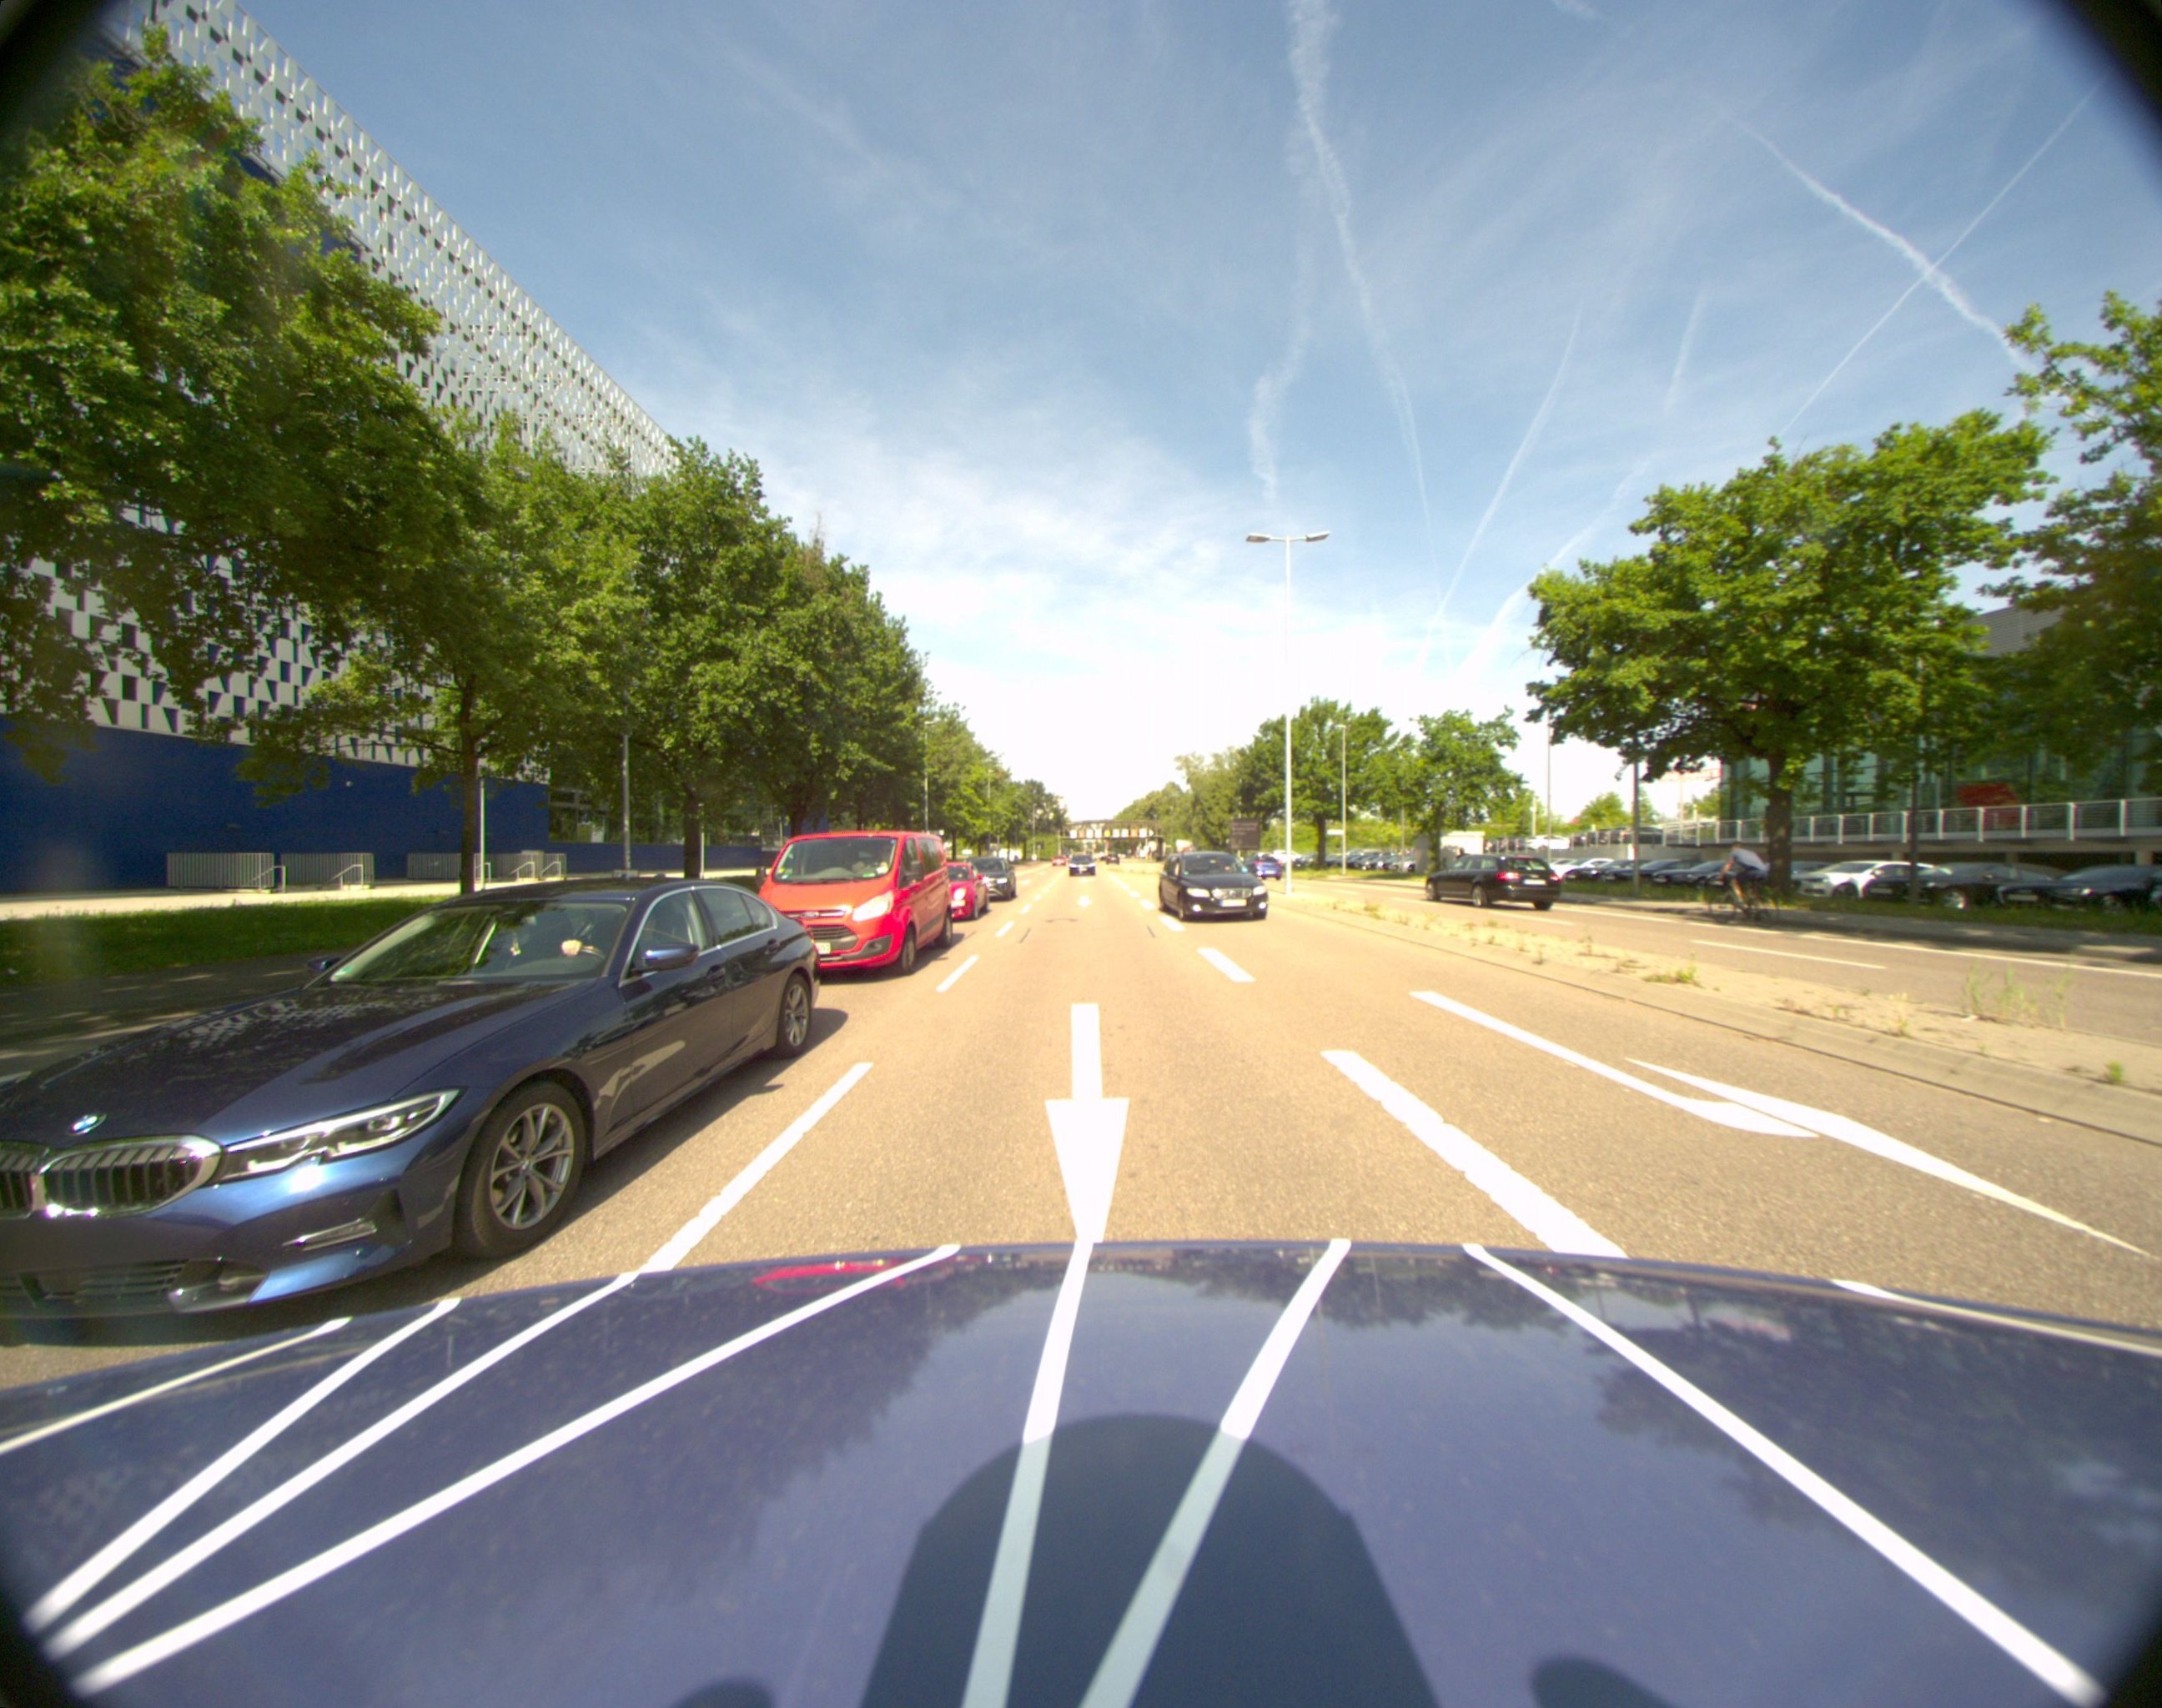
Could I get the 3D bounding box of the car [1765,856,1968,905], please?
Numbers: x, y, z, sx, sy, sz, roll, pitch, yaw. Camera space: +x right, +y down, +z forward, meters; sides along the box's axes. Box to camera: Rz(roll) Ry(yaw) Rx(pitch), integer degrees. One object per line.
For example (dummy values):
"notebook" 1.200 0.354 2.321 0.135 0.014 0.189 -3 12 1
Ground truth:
"car" 23.306 0.761 22.665 4.196 1.188 1.690 3 1 1

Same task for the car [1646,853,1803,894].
"car" 23.316 0.698 27.644 4.196 1.247 1.690 3 1 1

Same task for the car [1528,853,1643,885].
"car" 23.626 0.699 35.664 4.196 1.248 1.690 3 1 1

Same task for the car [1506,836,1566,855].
"car" 40.150 -0.753 67.129 4.196 1.490 1.690 3 1 1

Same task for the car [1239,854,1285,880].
"car" 10.863 0.742 45.826 1.732 1.430 3.869 2 0 -1

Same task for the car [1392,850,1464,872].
"car" 24.046 0.503 52.772 4.196 1.315 1.690 3 1 1

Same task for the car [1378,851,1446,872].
"car" 24.071 0.505 55.318 4.196 1.315 1.690 3 1 1

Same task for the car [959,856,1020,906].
"car" -3.159 0.900 26.945 1.649 1.531 3.999 -3 0 -1

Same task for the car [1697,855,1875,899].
"car" 23.205 0.740 25.120 4.196 1.198 1.690 3 1 1

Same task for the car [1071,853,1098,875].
"car" 0.217 0.672 54.495 1.848 1.531 3.999 0 0 0

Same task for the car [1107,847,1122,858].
"car" 4.548 -0.170 104.091 1.866 1.503 4.000 0 0 1

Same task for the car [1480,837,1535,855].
"car" 40.247 -0.727 71.753 4.196 1.490 1.690 3 1 1

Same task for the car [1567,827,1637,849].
"car" 40.581 -1.266 59.276 4.196 1.490 1.690 3 1 1

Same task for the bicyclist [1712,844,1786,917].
"bicyclist" 14.050 0.541 16.019 0.571 1.474 1.143 0 1 3

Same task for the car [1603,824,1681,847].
"car" 39.789 -1.276 53.920 4.196 1.397 1.690 3 1 1

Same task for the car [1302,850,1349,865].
"car" 24.548 0.375 76.319 4.196 1.315 1.690 3 1 1

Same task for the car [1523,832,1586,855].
"car" 40.134 -0.884 64.469 4.196 1.722 1.690 3 1 1

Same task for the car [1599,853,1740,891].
"car" 23.415 0.703 30.340 4.196 1.252 1.690 3 1 1

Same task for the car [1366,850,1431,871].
"car" 24.019 0.485 57.533 4.196 1.315 1.690 3 1 1

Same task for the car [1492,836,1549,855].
"car" 40.151 -0.753 69.463 4.196 1.490 1.690 3 1 1

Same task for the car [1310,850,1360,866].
"car" 24.609 0.361 73.773 4.196 1.315 1.690 3 1 1

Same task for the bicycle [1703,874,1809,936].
"bicycle" 14.040 1.025 15.885 0.572 1.143 1.925 0 0 3

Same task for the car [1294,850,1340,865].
"car" 24.475 0.332 78.820 4.196 1.315 1.690 3 1 1

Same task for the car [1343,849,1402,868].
"car" 24.120 0.375 63.005 4.196 1.315 1.690 3 1 1

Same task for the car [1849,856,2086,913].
"car" 23.393 0.787 20.167 4.196 1.239 1.690 3 1 1

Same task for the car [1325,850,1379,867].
"car" 24.446 0.395 68.551 4.196 1.315 1.690 3 1 1

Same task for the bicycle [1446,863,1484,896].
"bicycle" 14.509 0.948 28.753 0.572 1.143 1.770 1 0 3

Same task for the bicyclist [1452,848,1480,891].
"bicyclist" 14.508 0.569 28.652 0.578 1.587 0.910 1 1 3

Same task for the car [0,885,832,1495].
"car" -3.072 1.011 4.306 1.800 1.421 4.537 -1 0 0

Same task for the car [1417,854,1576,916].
"car" 11.369 0.779 21.226 1.851 1.451 4.664 2 0 0

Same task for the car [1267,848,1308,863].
"car" 23.673 0.136 87.050 4.196 1.490 1.690 3 1 1

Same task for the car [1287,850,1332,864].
"car" 24.519 0.274 81.610 4.196 1.315 1.690 3 1 1

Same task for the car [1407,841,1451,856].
"car" 40.168 -0.632 87.710 4.196 1.490 1.690 3 1 1

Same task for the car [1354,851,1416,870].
"car" 24.169 0.488 60.427 4.196 1.315 1.690 3 1 1

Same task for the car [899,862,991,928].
"car" -3.352 0.973 19.446 1.692 1.414 3.915 -1 0 -1

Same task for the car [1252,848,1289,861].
"car" 23.647 0.063 94.835 4.196 1.371 1.690 3 1 1

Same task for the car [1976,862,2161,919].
"car" 23.564 0.858 17.308 4.196 1.116 1.719 3 1 1

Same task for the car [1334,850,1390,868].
"car" 24.215 0.423 65.536 4.196 1.315 1.690 3 1 1

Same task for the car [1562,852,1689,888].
"car" 23.558 0.673 32.976 4.196 1.291 1.690 3 1 1

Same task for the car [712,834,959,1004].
"car" -3.213 0.740 11.167 2.014 1.896 4.809 -2 0 0

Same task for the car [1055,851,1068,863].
"car" -2.627 0.417 101.154 1.649 1.531 3.999 -3 0 -1

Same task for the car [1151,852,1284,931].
"car" 2.943 0.743 17.510 1.883 1.513 4.867 -2 0 -3

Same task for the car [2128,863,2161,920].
"car" 23.406 0.845 14.552 4.196 1.128 1.695 3 1 1

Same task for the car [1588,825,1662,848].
"car" 40.467 -1.280 56.543 4.196 1.490 1.690 3 1 1
